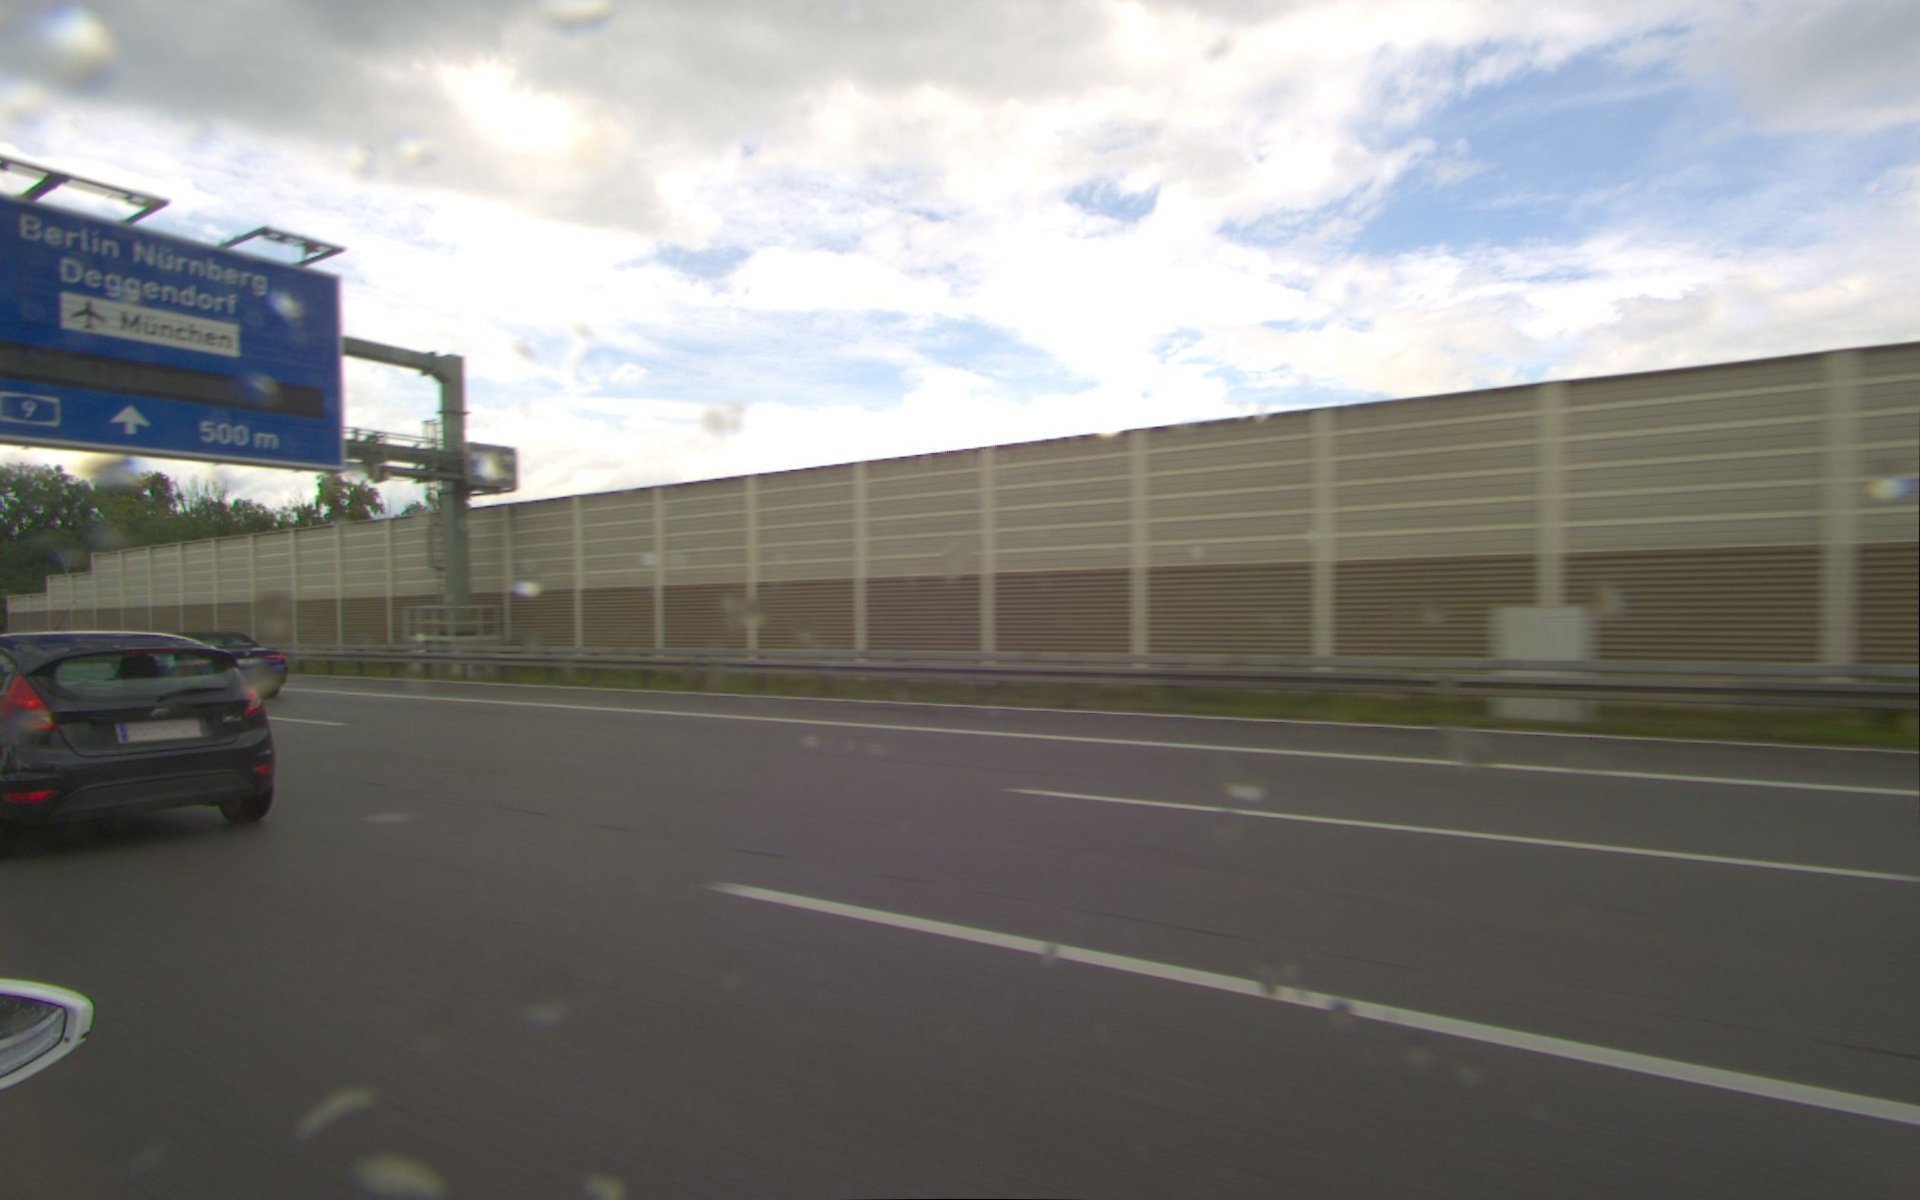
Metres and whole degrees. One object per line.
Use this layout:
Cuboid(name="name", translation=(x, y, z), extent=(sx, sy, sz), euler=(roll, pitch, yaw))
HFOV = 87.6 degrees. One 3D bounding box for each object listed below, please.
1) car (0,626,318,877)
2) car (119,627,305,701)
Cuboid(name="car", translation=(-6.869, 0.942, 7.643), extent=(4.218, 1.435, 1.714), euler=(-2, -1, 33))
Cuboid(name="car", translation=(-16.246, 1.313, 21.711), extent=(4.173, 1.437, 1.945), euler=(-1, -1, 33))
